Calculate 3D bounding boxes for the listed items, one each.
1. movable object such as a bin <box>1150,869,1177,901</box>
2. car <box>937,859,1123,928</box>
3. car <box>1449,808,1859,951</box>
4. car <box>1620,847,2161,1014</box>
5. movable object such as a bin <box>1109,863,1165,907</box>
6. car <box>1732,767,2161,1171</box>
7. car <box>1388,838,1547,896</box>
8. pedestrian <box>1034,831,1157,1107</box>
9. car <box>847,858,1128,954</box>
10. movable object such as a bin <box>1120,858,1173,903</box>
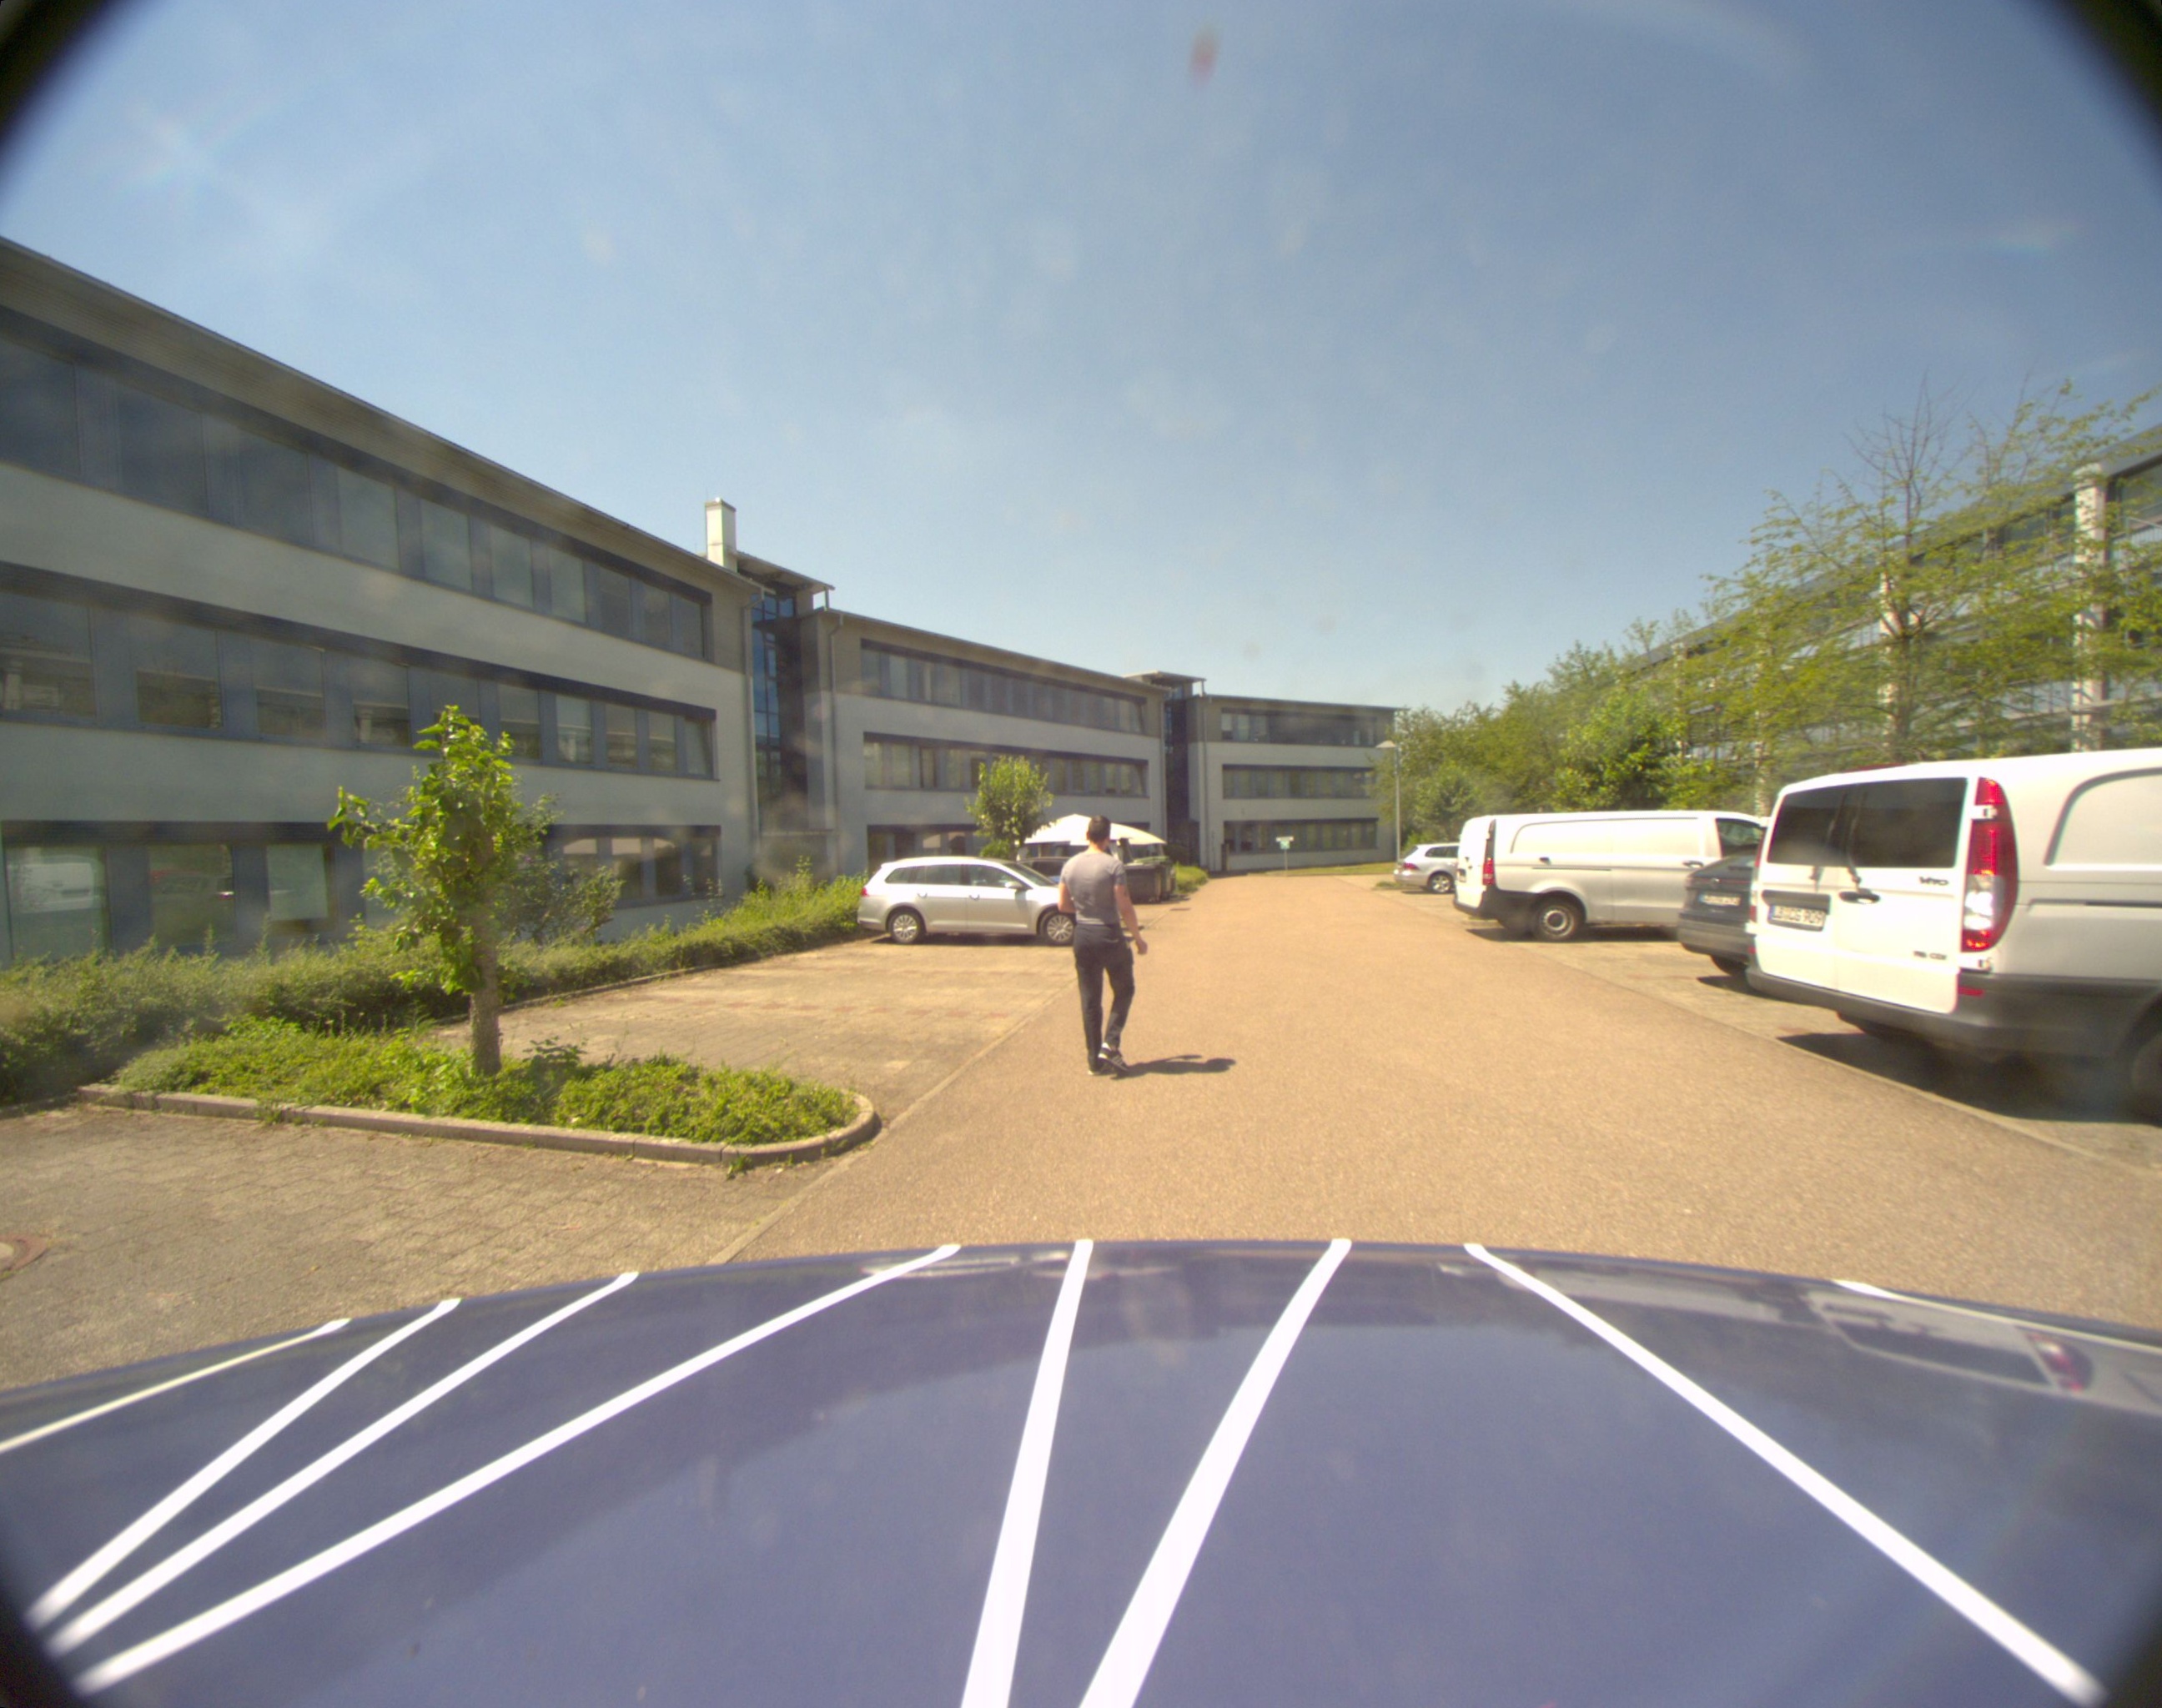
[{"bbox_3d":[2.567,0.955,23.564,0.690,0.944,0.723,-1,1,17],"label":"movable object such as a bin"},{"bbox_3d":[-1.075,0.827,16.857,3.821,1.384,1.653,0,1,11],"label":"car"},{"bbox_3d":[8.189,0.373,11.322,4.513,1.871,1.830,-2,1,11],"label":"car"},{"bbox_3d":[7.833,0.685,7.450,3.845,1.385,1.578,-2,1,11],"label":"car"},{"bbox_3d":[1.611,0.879,21.771,1.362,1.183,0.998,-1,1,17],"label":"movable object such as a bin"},{"bbox_3d":[6.847,0.480,4.132,4.728,1.895,1.831,-2,1,11],"label":"car"},{"bbox_3d":[11.077,0.364,22.009,3.759,1.549,1.662,-2,1,11],"label":"car"},{"bbox_3d":[0.126,0.728,5.254,0.617,1.747,0.789,-1,1,15],"label":"pedestrian"},{"bbox_3d":[-1.556,0.849,13.340,4.513,1.489,1.830,-1,1,11],"label":"car"},{"bbox_3d":[1.966,0.792,22.761,1.362,1.288,1.044,-1,1,17],"label":"movable object such as a bin"}]
